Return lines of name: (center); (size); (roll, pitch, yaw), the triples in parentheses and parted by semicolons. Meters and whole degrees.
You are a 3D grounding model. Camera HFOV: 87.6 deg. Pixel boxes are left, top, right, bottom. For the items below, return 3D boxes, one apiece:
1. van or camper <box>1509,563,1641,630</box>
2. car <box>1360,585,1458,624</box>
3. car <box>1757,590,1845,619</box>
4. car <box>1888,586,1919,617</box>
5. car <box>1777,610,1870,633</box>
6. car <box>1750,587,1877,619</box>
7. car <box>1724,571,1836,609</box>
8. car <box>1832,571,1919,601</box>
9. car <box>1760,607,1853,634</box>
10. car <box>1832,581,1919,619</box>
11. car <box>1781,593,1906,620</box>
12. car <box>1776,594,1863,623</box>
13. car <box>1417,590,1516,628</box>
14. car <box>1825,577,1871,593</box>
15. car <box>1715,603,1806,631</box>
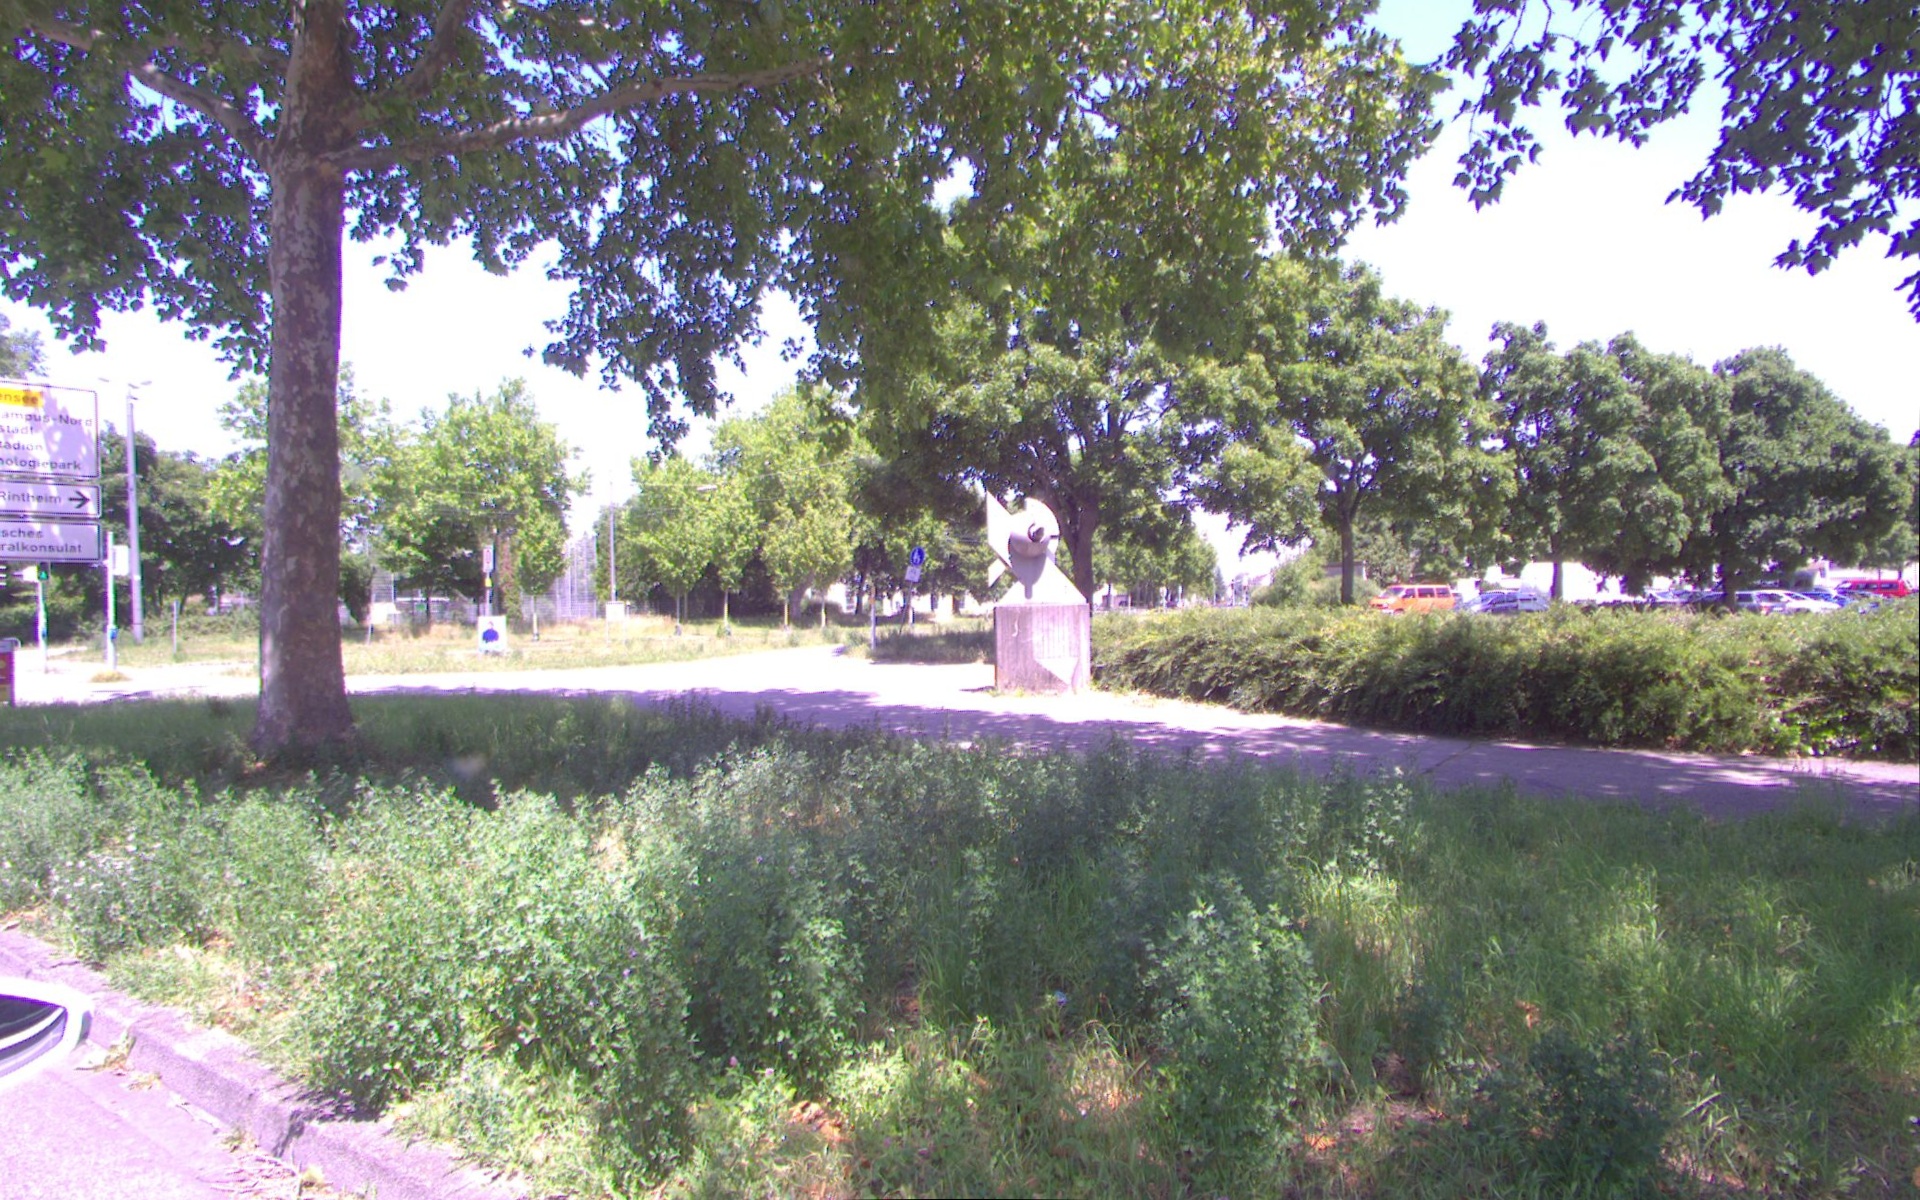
van or camper: (27.004, -0.163, 43.991); (5.039, 2.787, 2.199); (-1, 0, -18)
car: (23.843, 0.226, 53.232); (4.582, 2.029, 2.069); (0, 0, -19)
car: (34.365, 0.174, 40.985); (0.991, 1.141, 2.590); (-1, 0, -25)
car: (44.649, 0.059, 45.410); (1.690, 1.384, 3.414); (-1, 0, -25)
car: (33.551, 0.824, 38.942); (0.938, 0.852, 2.590); (-1, 0, -25)
car: (34.422, 0.100, 40.492); (1.595, 1.242, 3.559); (0, 1, -25)
car: (46.409, -0.551, 56.796); (2.209, 2.040, 4.409); (-1, 0, -22)
car: (104.358, -1.507, 114.158); (3.155, 3.224, 7.143); (-1, 0, -41)
car: (32.409, 0.776, 38.387); (0.938, 1.000, 2.590); (-1, 0, -25)
car: (57.205, 0.015, 62.302); (1.936, 2.038, 3.991); (2, -4, -23)
car: (36.715, 0.294, 41.702); (1.655, 1.048, 3.553); (-1, 0, -25)
car: (35.452, 0.348, 41.347); (0.938, 1.141, 2.590); (-1, 0, -25)
car: (23.928, 0.410, 47.323); (4.000, 1.741, 1.952); (-1, 0, -18)
car: (92.688, -1.556, 104.530); (3.309, 1.639, 1.439); (-1, 0, 19)
car: (30.790, 0.645, 38.576); (0.938, 1.050, 2.590); (-1, 0, -25)
